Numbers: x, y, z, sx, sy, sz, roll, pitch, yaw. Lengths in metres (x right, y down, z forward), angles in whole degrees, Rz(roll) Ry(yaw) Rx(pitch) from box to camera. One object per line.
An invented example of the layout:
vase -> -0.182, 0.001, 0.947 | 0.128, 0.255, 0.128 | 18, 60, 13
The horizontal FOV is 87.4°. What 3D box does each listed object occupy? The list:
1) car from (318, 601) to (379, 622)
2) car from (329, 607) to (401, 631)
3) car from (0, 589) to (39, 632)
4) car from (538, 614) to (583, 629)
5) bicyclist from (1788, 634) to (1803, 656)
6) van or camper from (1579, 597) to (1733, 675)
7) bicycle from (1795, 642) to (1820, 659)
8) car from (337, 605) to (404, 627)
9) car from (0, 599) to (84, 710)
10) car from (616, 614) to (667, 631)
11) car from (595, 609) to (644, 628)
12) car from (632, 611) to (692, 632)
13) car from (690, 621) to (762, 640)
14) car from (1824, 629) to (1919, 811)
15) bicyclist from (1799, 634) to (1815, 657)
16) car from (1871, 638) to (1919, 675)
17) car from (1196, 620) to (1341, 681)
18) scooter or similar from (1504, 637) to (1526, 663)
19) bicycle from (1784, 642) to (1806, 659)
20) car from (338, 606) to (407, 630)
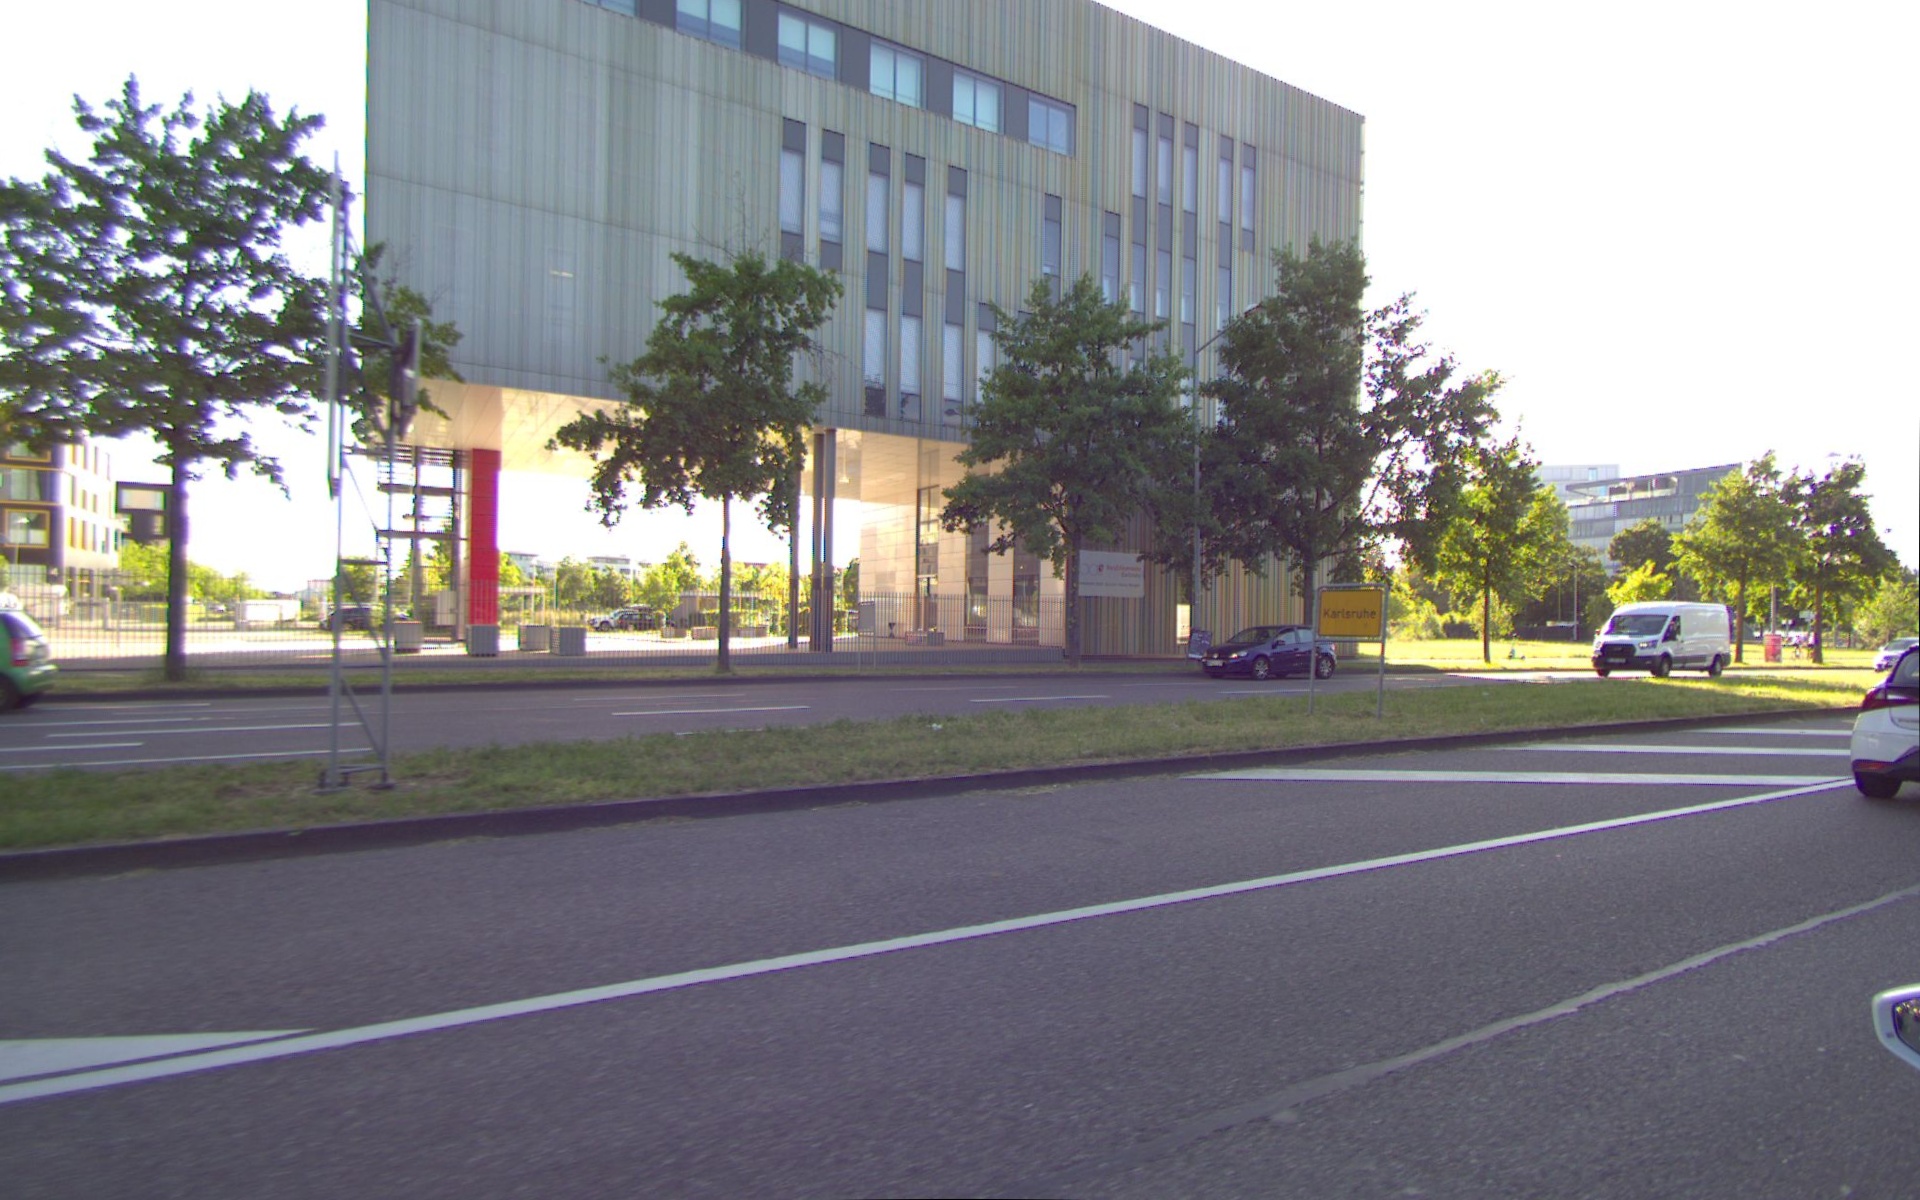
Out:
car -> -39.636, 0.730, 65.152 | 3.346, 1.275, 1.355 | 1, -1, -32
car -> -32.977, 1.040, 55.719 | 3.346, 1.275, 1.355 | 1, -1, -32
car -> -35.815, 0.343, 36.858 | 1.911, 1.523, 4.369 | 1, 0, -28
car -> -34.673, 1.856, 87.241 | 3.406, 1.209, 1.358 | 2, -1, -33
bicyclist -> 53.324, 2.879, 64.130 | 0.835, 1.413, 0.479 | 2, -1, -32
van or camper -> 23.108, 1.194, 33.260 | 5.925, 2.400, 1.983 | 1, -2, -32
bicycle -> 53.208, 3.195, 63.067 | 2.073, 1.016, 0.567 | 2, -1, -32
car -> -34.636, 0.939, 59.047 | 3.346, 1.275, 1.355 | 1, -1, -32
car -> -13.985, 0.697, 13.264 | 3.422, 1.455, 1.438 | 1, -1, -32
car -> -23.724, 1.672, 74.834 | 3.403, 1.233, 1.423 | 2, -1, -30
car -> -26.773, 1.460, 78.910 | 3.406, 1.401, 1.422 | 2, -1, -33
car -> -19.046, 1.377, 64.257 | 3.403, 1.233, 1.423 | 2, -1, -30
car -> -12.314, 1.628, 52.874 | 3.403, 0.926, 1.423 | 2, -1, -30
car -> 9.496, 1.007, 8.784 | 4.028, 1.427, 1.769 | 1, 0, -31
bicyclist -> 53.124, 2.833, 63.023 | 0.739, 1.411, 0.559 | 2, -1, -32
car -> 41.403, 2.423, 43.677 | 4.006, 1.496, 1.679 | 2, -1, -33
car -> 8.386, 1.329, 27.197 | 3.982, 1.528, 1.542 | 1, -1, -32
scooter or similar -> 25.323, 2.302, 45.854 | 1.312, 1.164, 0.230 | 2, -1, -31
bicycle -> 53.298, 3.216, 64.114 | 2.073, 1.016, 0.484 | 2, -1, -32
car -> -33.458, 1.017, 57.203 | 3.346, 1.275, 1.355 | 1, -1, -32
